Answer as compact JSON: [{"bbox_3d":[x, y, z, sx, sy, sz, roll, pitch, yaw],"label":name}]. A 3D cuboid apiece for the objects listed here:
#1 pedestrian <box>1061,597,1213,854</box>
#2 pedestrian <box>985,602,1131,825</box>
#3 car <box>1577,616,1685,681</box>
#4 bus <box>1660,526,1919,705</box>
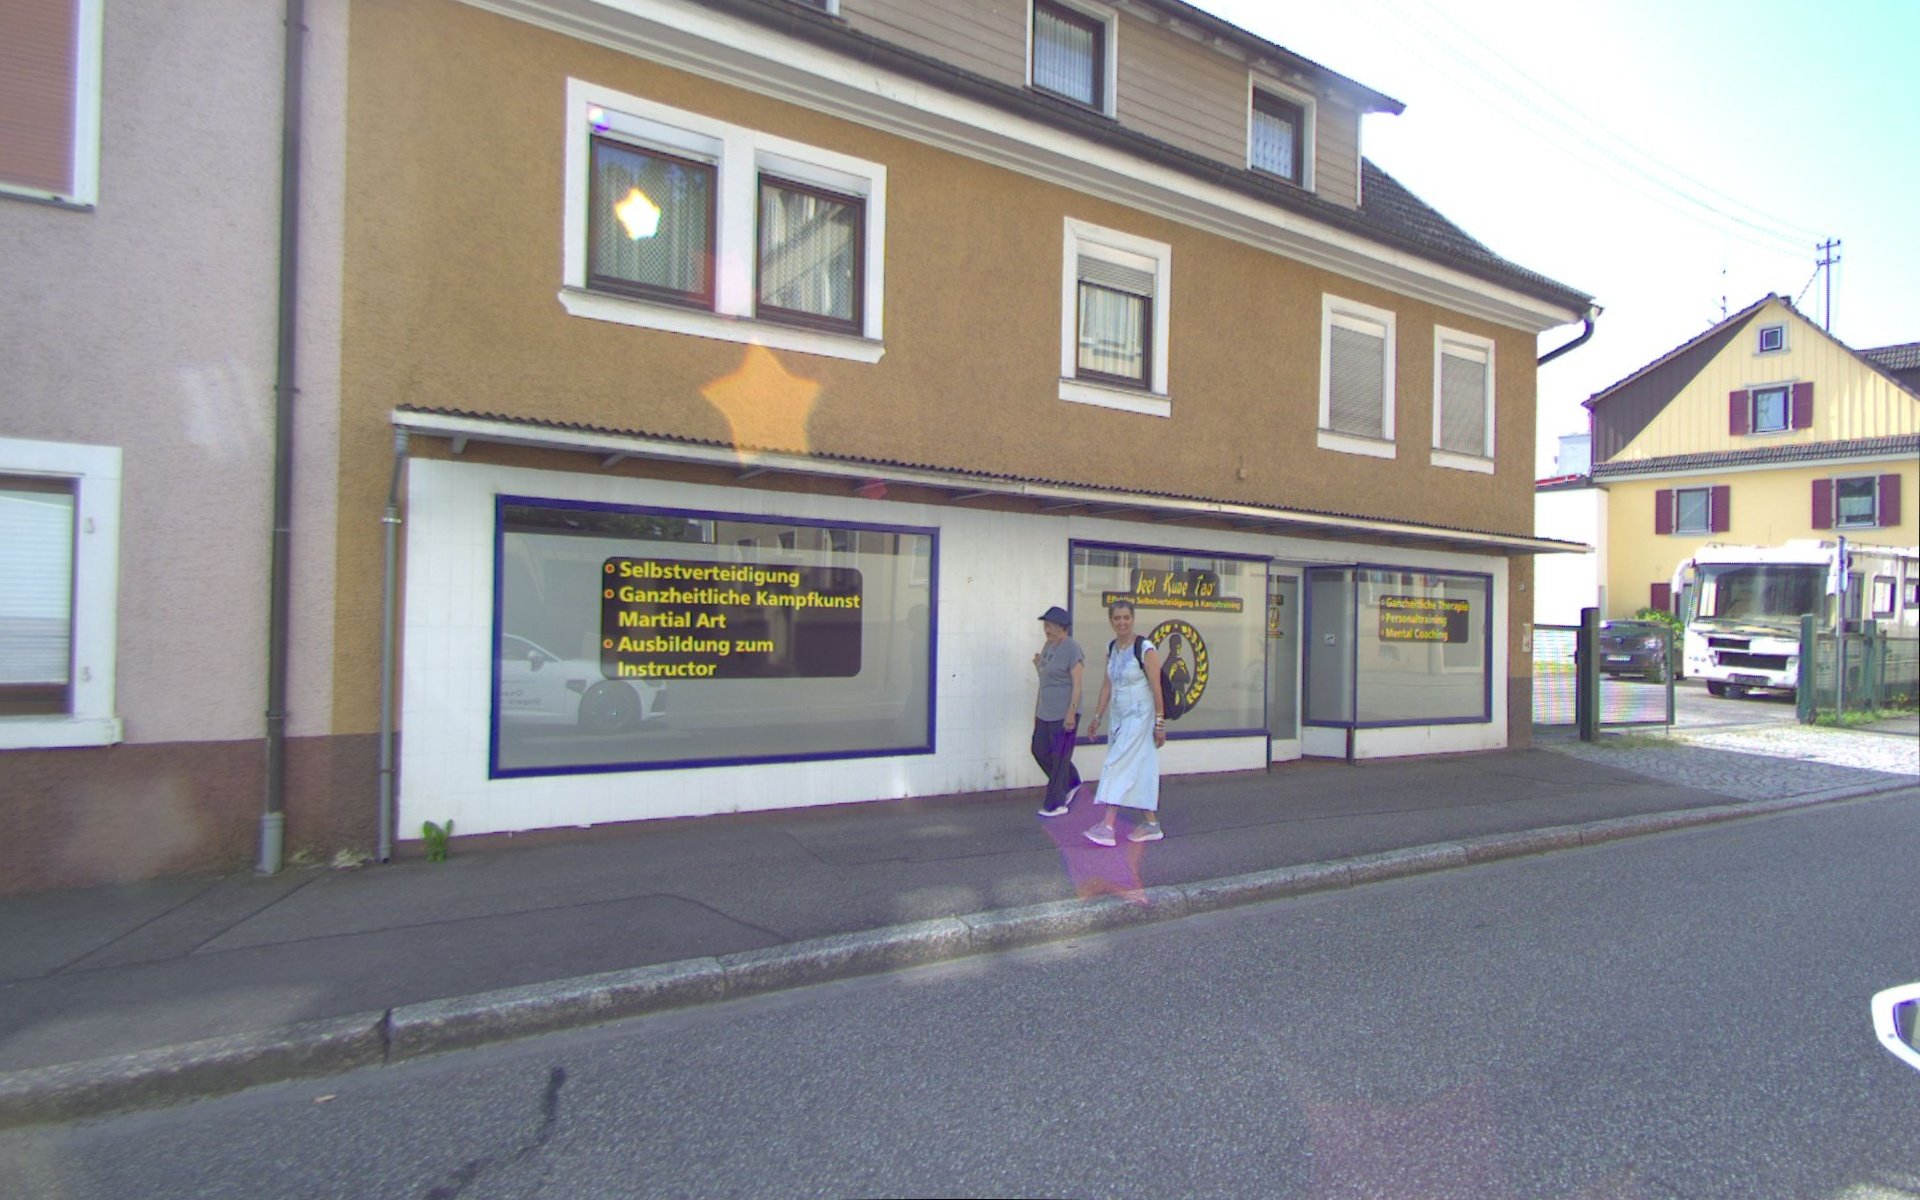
[{"bbox_3d":[1.218,0.815,6.944,0.768,1.648,0.636,1,1,-29],"label":"pedestrian"},{"bbox_3d":[0.744,0.826,7.730,0.814,1.585,0.731,1,1,-29],"label":"pedestrian"},{"bbox_3d":[16.994,1.188,25.378,1.745,1.451,3.979,2,0,41],"label":"car"},{"bbox_3d":[18.948,0.346,21.960,8.939,3.271,2.803,1,0,-33],"label":"bus"}]
